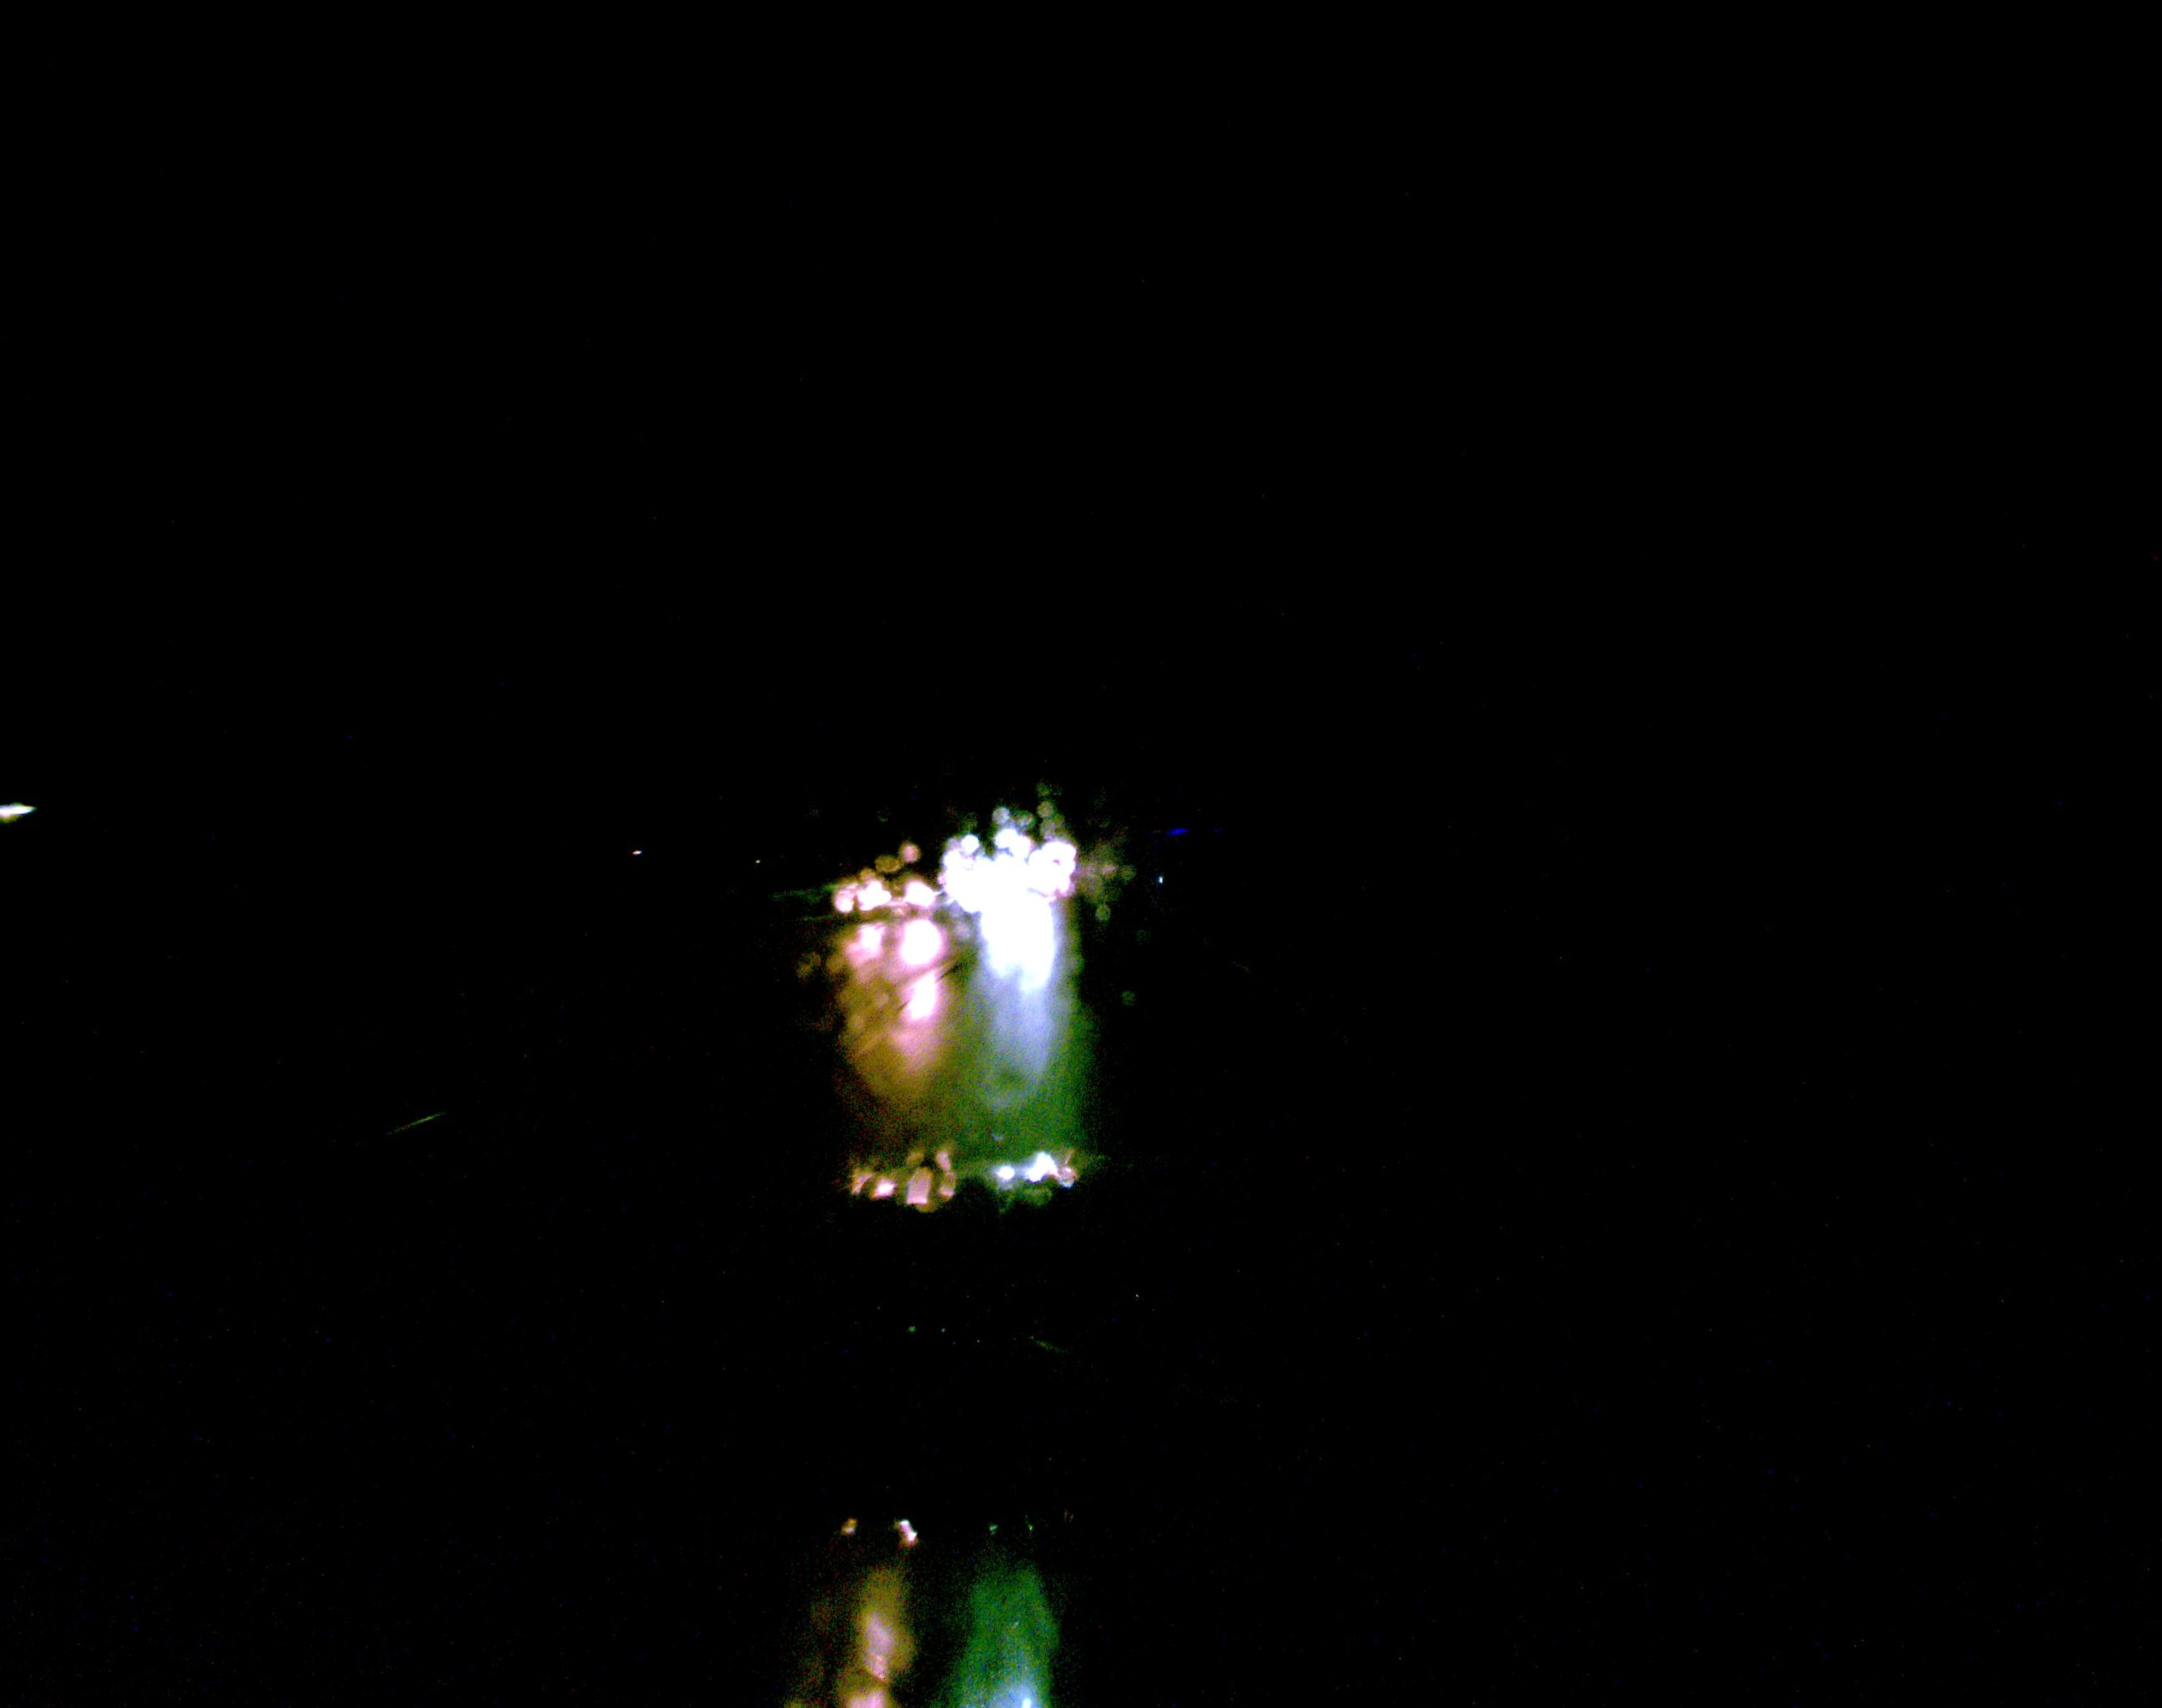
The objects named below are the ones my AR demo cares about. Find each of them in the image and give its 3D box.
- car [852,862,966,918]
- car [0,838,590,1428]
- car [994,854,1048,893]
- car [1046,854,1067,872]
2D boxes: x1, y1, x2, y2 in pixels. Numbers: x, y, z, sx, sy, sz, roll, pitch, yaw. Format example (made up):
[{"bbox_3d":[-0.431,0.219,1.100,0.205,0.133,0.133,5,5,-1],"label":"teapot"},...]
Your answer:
[{"bbox_3d":[-4.783,0.957,23.401,1.794,1.383,4.780,-1,0,6],"label":"car"},{"bbox_3d":[-3.945,0.760,2.236,2.101,1.575,4.685,-1,0,4],"label":"car"},{"bbox_3d":[-2.595,0.824,36.307,1.916,1.615,4.087,-1,0,2],"label":"car"},{"bbox_3d":[-2.240,0.818,75.994,1.648,1.683,4.522,-1,0,2],"label":"car"}]
